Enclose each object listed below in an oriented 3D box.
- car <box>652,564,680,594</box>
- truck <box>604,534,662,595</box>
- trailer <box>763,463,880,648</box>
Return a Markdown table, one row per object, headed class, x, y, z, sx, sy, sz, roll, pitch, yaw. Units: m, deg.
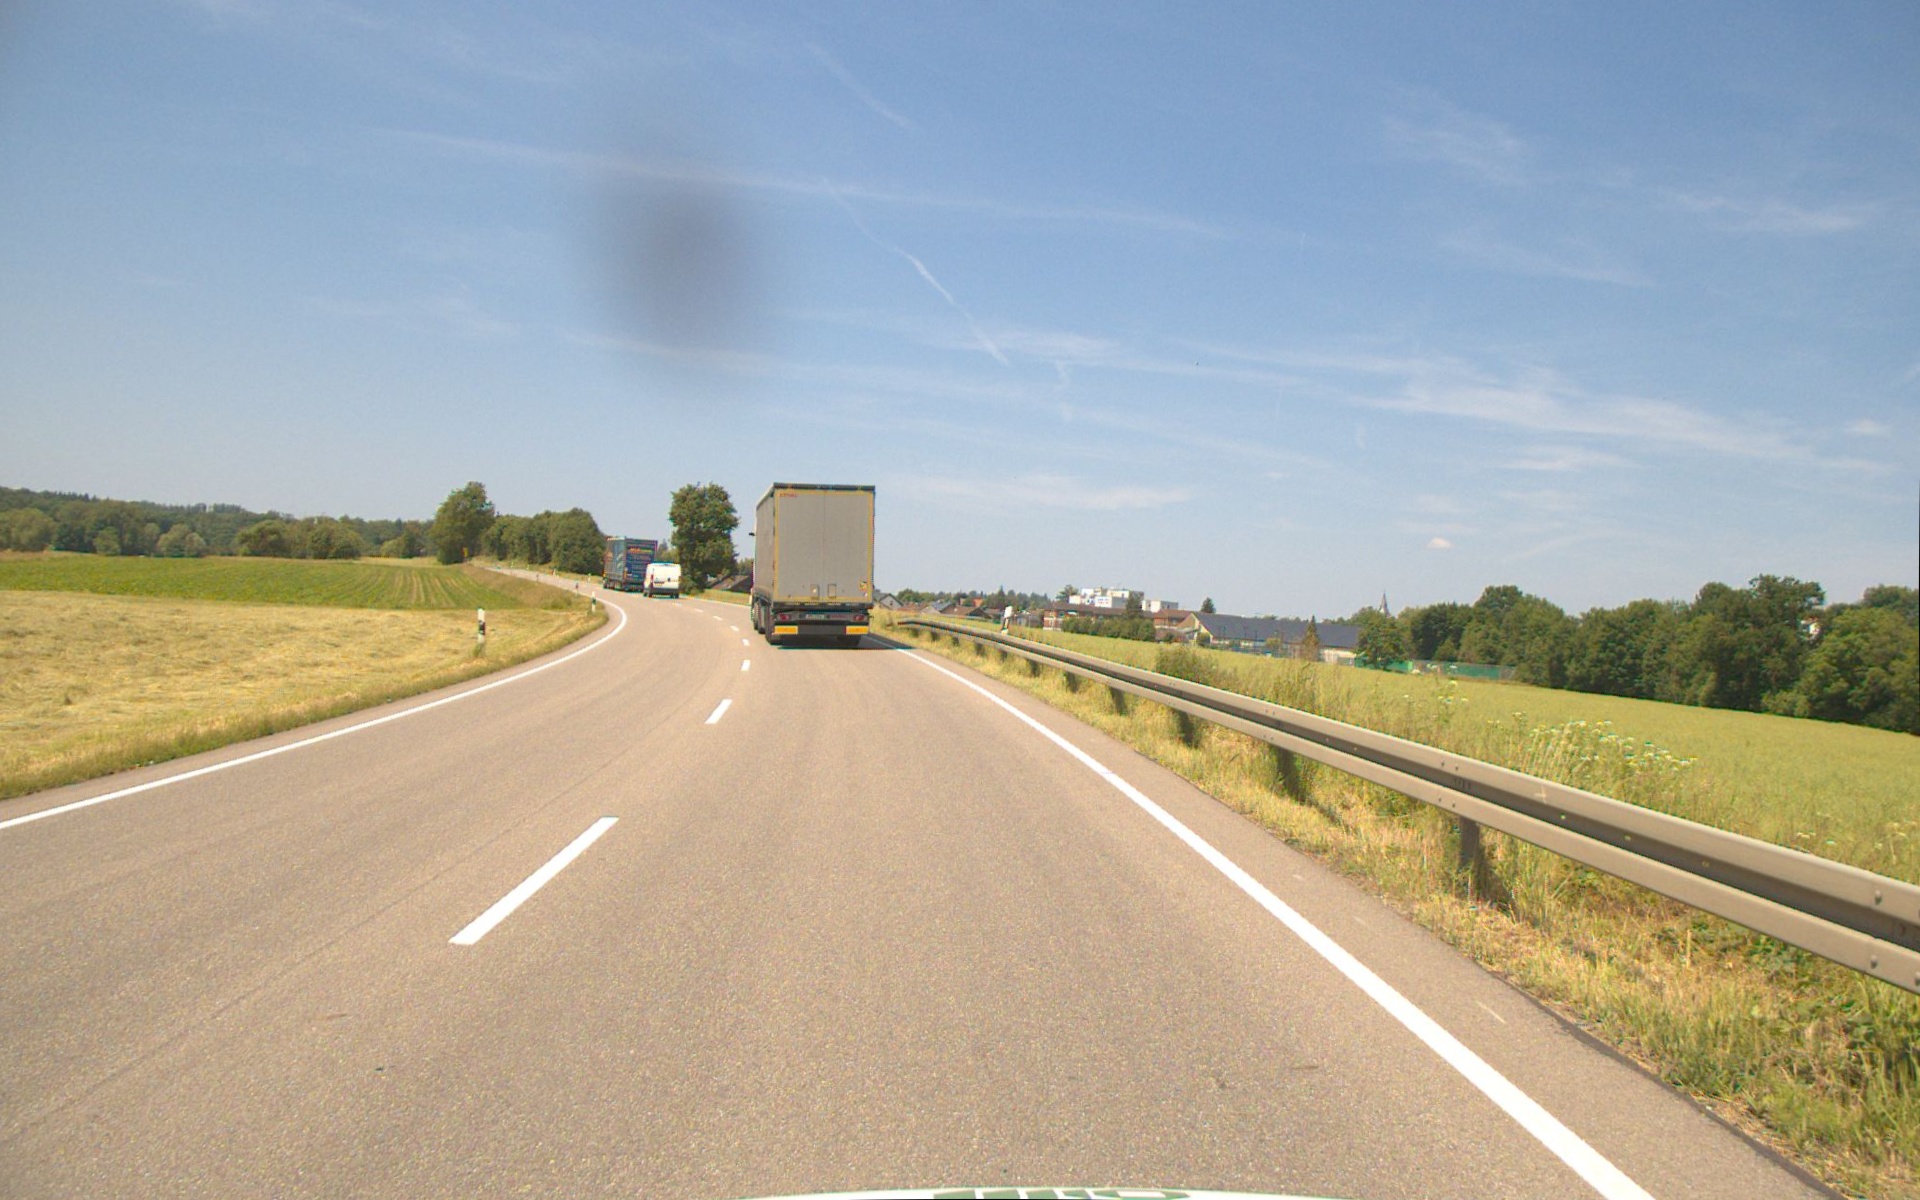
| class | x | y | z | sx | sy | sz | roll | pitch | yaw |
| --- | --- | --- | --- | --- | --- | --- | --- | --- | --- |
| car | -19.669 | -1.374 | 110.498 | 1.695 | 1.905 | 3.989 | 2 | 0 | -11 |
| truck | -26.678 | -2.873 | 134.317 | 3.490 | 4.468 | 18.053 | 3 | 0 | -14 |
| trailer | -4.136 | -1.147 | 46.891 | 2.812 | 4.477 | 13.473 | 0 | 1 | -7 |
